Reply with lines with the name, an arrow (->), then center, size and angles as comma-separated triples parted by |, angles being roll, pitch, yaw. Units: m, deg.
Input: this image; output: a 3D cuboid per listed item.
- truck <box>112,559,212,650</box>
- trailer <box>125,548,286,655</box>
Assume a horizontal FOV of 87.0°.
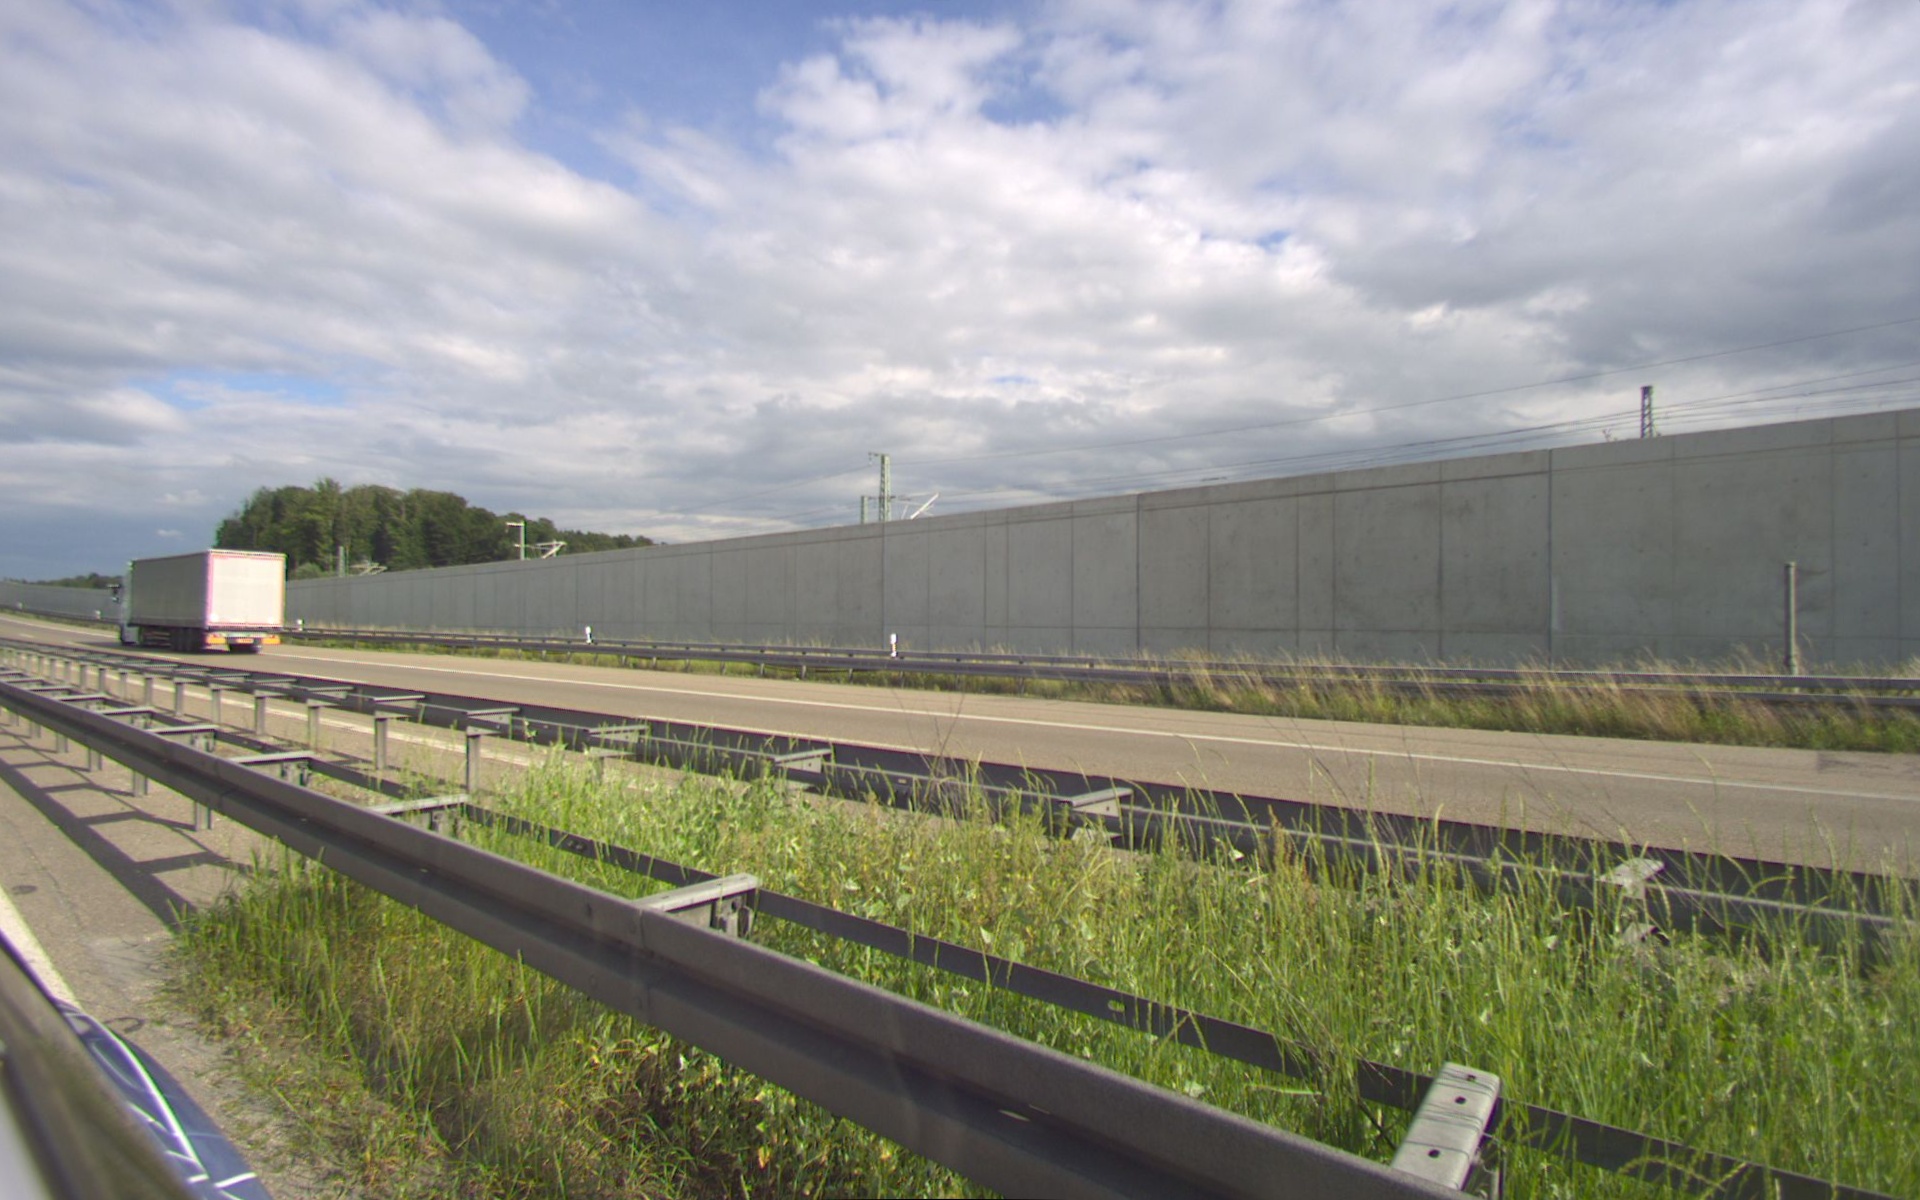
truck -> -38.238, 0.265, 48.444 | 5.876, 4.099, 2.657 | -1, -2, 41
trailer -> -33.041, 0.179, 43.930 | 13.783, 4.069, 2.656 | -1, -2, 41
